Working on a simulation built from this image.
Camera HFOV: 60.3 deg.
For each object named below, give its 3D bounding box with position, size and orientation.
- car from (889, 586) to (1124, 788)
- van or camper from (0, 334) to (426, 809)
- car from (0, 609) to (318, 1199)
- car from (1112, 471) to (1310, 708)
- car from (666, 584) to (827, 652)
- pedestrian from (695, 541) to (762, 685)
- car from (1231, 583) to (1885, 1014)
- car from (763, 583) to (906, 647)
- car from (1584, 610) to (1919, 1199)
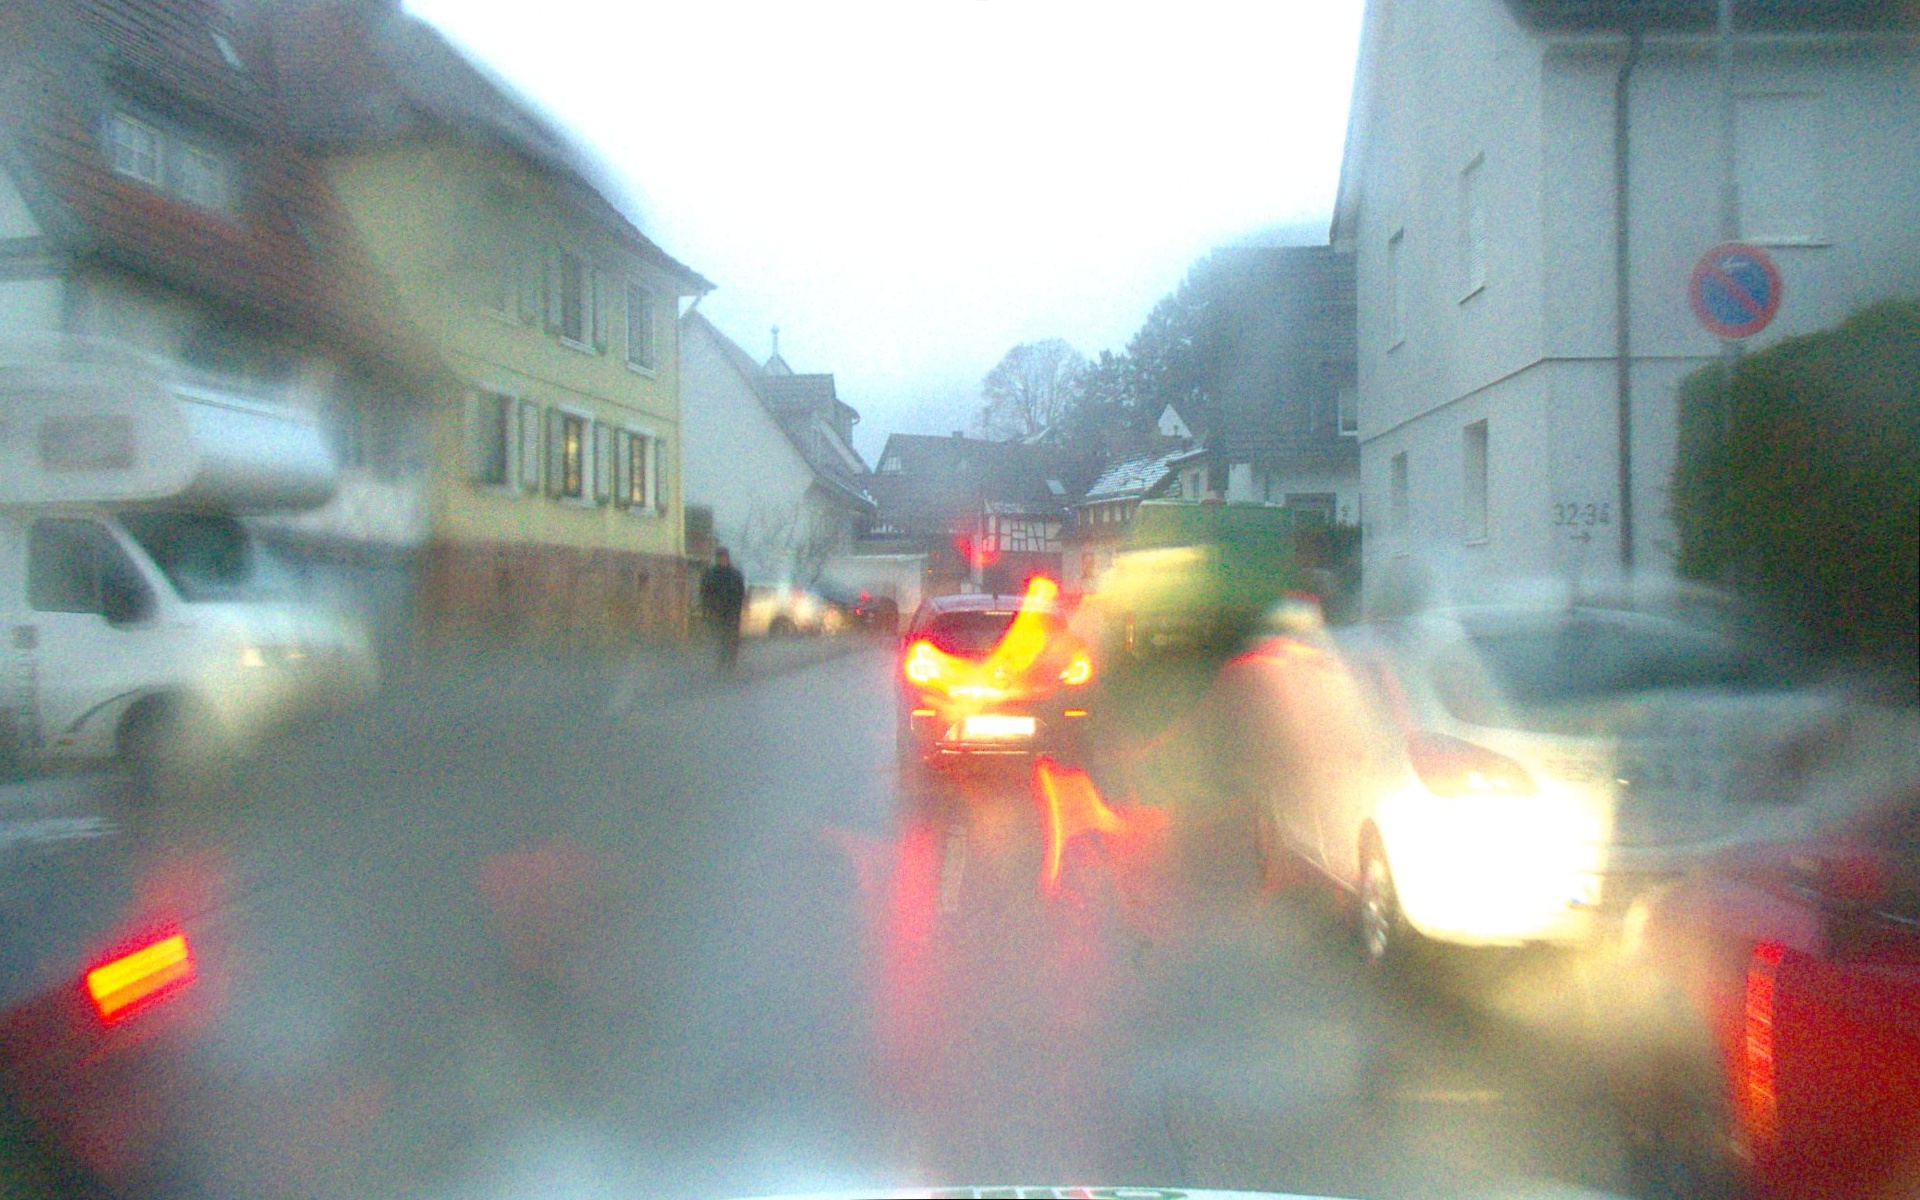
[{"bbox_3d":[0.348,0.656,14.589,1.758,1.502,4.000,1,0,0],"label":"car"},{"bbox_3d":[-7.354,-0.083,12.149,5.933,3.006,2.408,-3,0,5],"label":"van or camper"},{"bbox_3d":[-1.998,0.744,0.844,1.831,1.426,4.363,0,0,-3],"label":"car"},{"bbox_3d":[2.776,-0.125,19.041,1.776,2.455,3.752,0,0,1],"label":"car"},{"bbox_3d":[-4.991,0.413,38.876,3.433,1.533,1.693,0,0,6],"label":"car"},{"bbox_3d":[-3.334,0.185,23.846,0.856,2.049,0.794,0,0,-1],"label":"pedestrian"},{"bbox_3d":[2.447,0.696,7.782,1.690,1.534,3.751,0,0,-1],"label":"car"},{"bbox_3d":[-3.123,0.367,41.573,3.435,1.533,1.692,0,0,1],"label":"car"},{"bbox_3d":[2.457,0.749,2.411,1.645,1.419,3.751,0,0,-1],"label":"car"}]
